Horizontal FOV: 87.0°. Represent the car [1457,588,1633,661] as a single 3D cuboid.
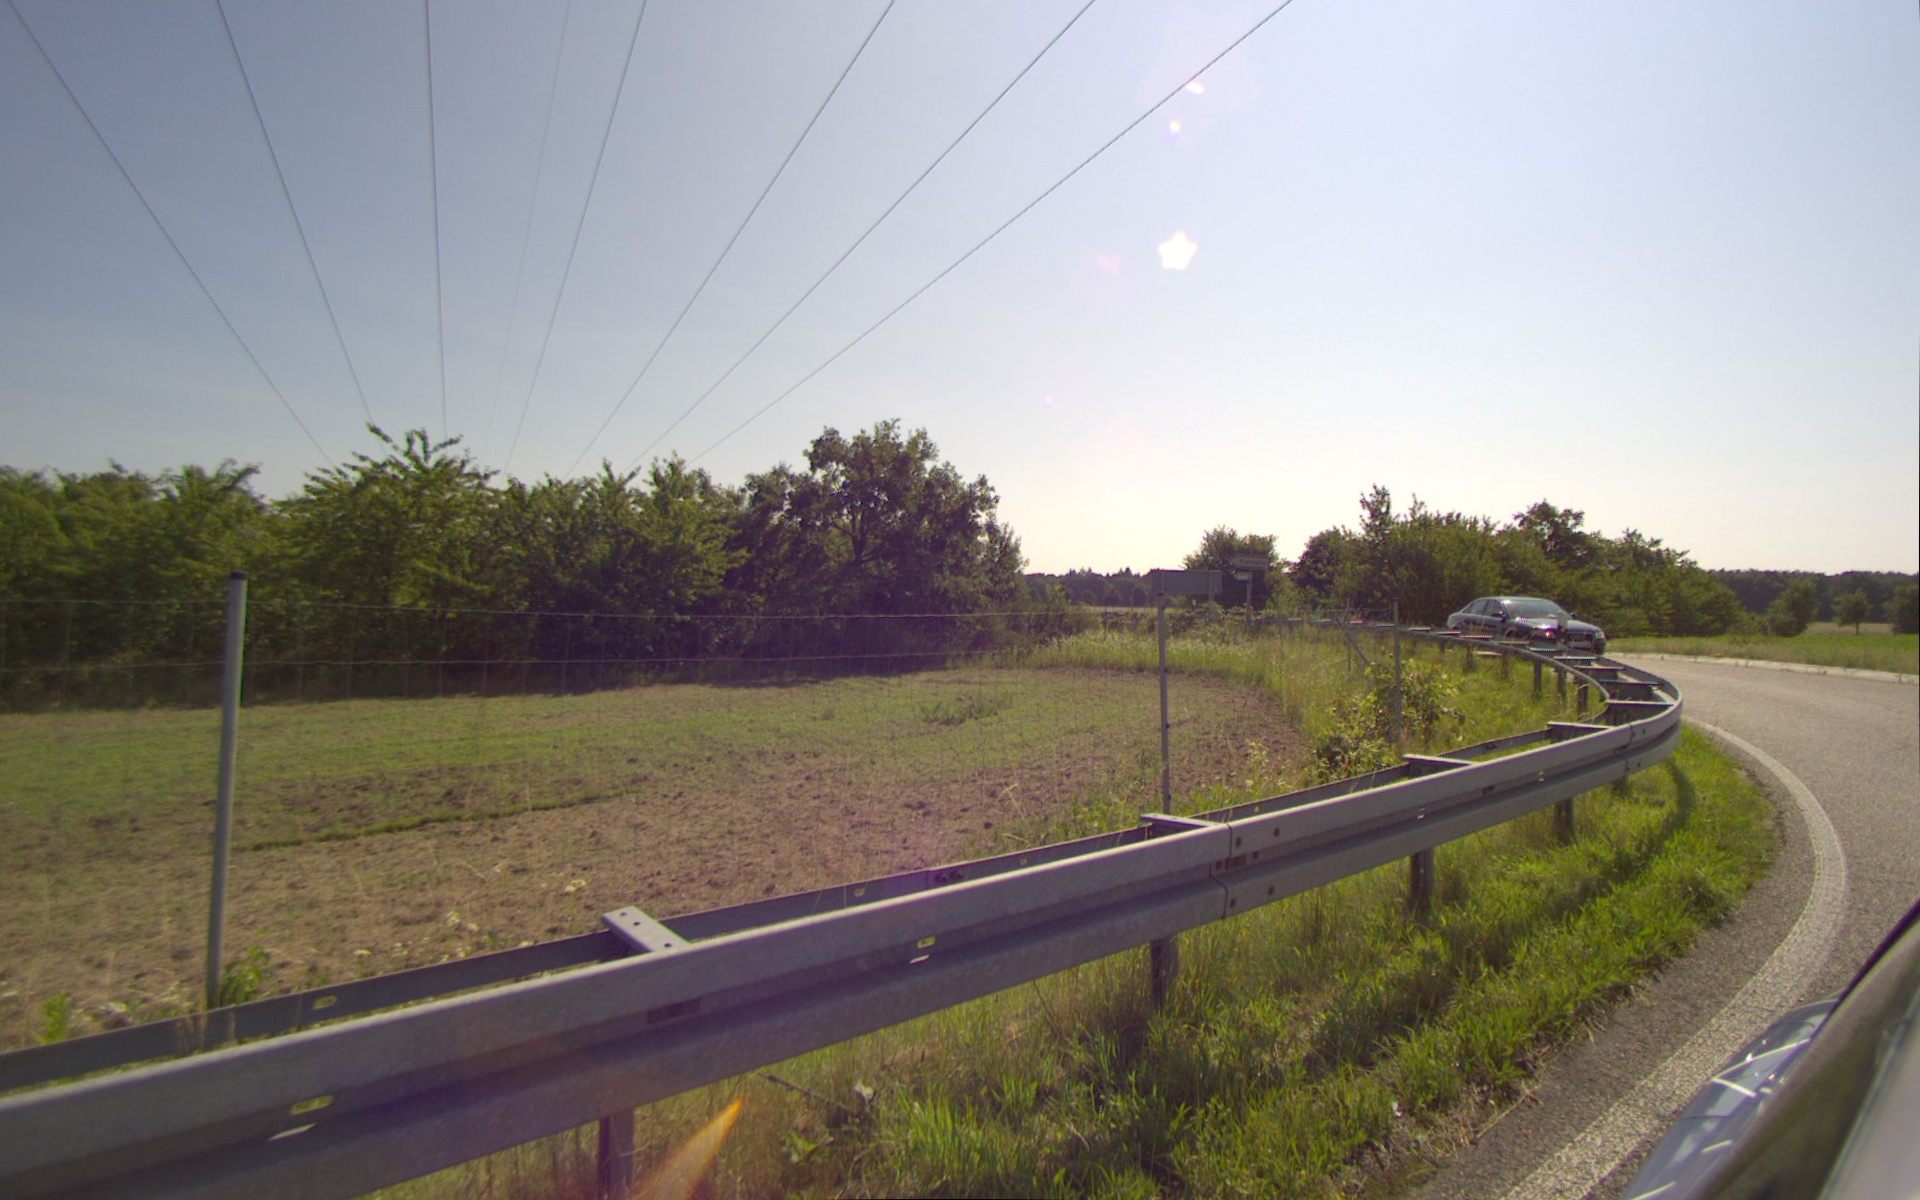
[{"bbox_3d":[12.965,0.527,22.760,1.854,1.475,4.069,0,-1,5],"label":"car"}]
